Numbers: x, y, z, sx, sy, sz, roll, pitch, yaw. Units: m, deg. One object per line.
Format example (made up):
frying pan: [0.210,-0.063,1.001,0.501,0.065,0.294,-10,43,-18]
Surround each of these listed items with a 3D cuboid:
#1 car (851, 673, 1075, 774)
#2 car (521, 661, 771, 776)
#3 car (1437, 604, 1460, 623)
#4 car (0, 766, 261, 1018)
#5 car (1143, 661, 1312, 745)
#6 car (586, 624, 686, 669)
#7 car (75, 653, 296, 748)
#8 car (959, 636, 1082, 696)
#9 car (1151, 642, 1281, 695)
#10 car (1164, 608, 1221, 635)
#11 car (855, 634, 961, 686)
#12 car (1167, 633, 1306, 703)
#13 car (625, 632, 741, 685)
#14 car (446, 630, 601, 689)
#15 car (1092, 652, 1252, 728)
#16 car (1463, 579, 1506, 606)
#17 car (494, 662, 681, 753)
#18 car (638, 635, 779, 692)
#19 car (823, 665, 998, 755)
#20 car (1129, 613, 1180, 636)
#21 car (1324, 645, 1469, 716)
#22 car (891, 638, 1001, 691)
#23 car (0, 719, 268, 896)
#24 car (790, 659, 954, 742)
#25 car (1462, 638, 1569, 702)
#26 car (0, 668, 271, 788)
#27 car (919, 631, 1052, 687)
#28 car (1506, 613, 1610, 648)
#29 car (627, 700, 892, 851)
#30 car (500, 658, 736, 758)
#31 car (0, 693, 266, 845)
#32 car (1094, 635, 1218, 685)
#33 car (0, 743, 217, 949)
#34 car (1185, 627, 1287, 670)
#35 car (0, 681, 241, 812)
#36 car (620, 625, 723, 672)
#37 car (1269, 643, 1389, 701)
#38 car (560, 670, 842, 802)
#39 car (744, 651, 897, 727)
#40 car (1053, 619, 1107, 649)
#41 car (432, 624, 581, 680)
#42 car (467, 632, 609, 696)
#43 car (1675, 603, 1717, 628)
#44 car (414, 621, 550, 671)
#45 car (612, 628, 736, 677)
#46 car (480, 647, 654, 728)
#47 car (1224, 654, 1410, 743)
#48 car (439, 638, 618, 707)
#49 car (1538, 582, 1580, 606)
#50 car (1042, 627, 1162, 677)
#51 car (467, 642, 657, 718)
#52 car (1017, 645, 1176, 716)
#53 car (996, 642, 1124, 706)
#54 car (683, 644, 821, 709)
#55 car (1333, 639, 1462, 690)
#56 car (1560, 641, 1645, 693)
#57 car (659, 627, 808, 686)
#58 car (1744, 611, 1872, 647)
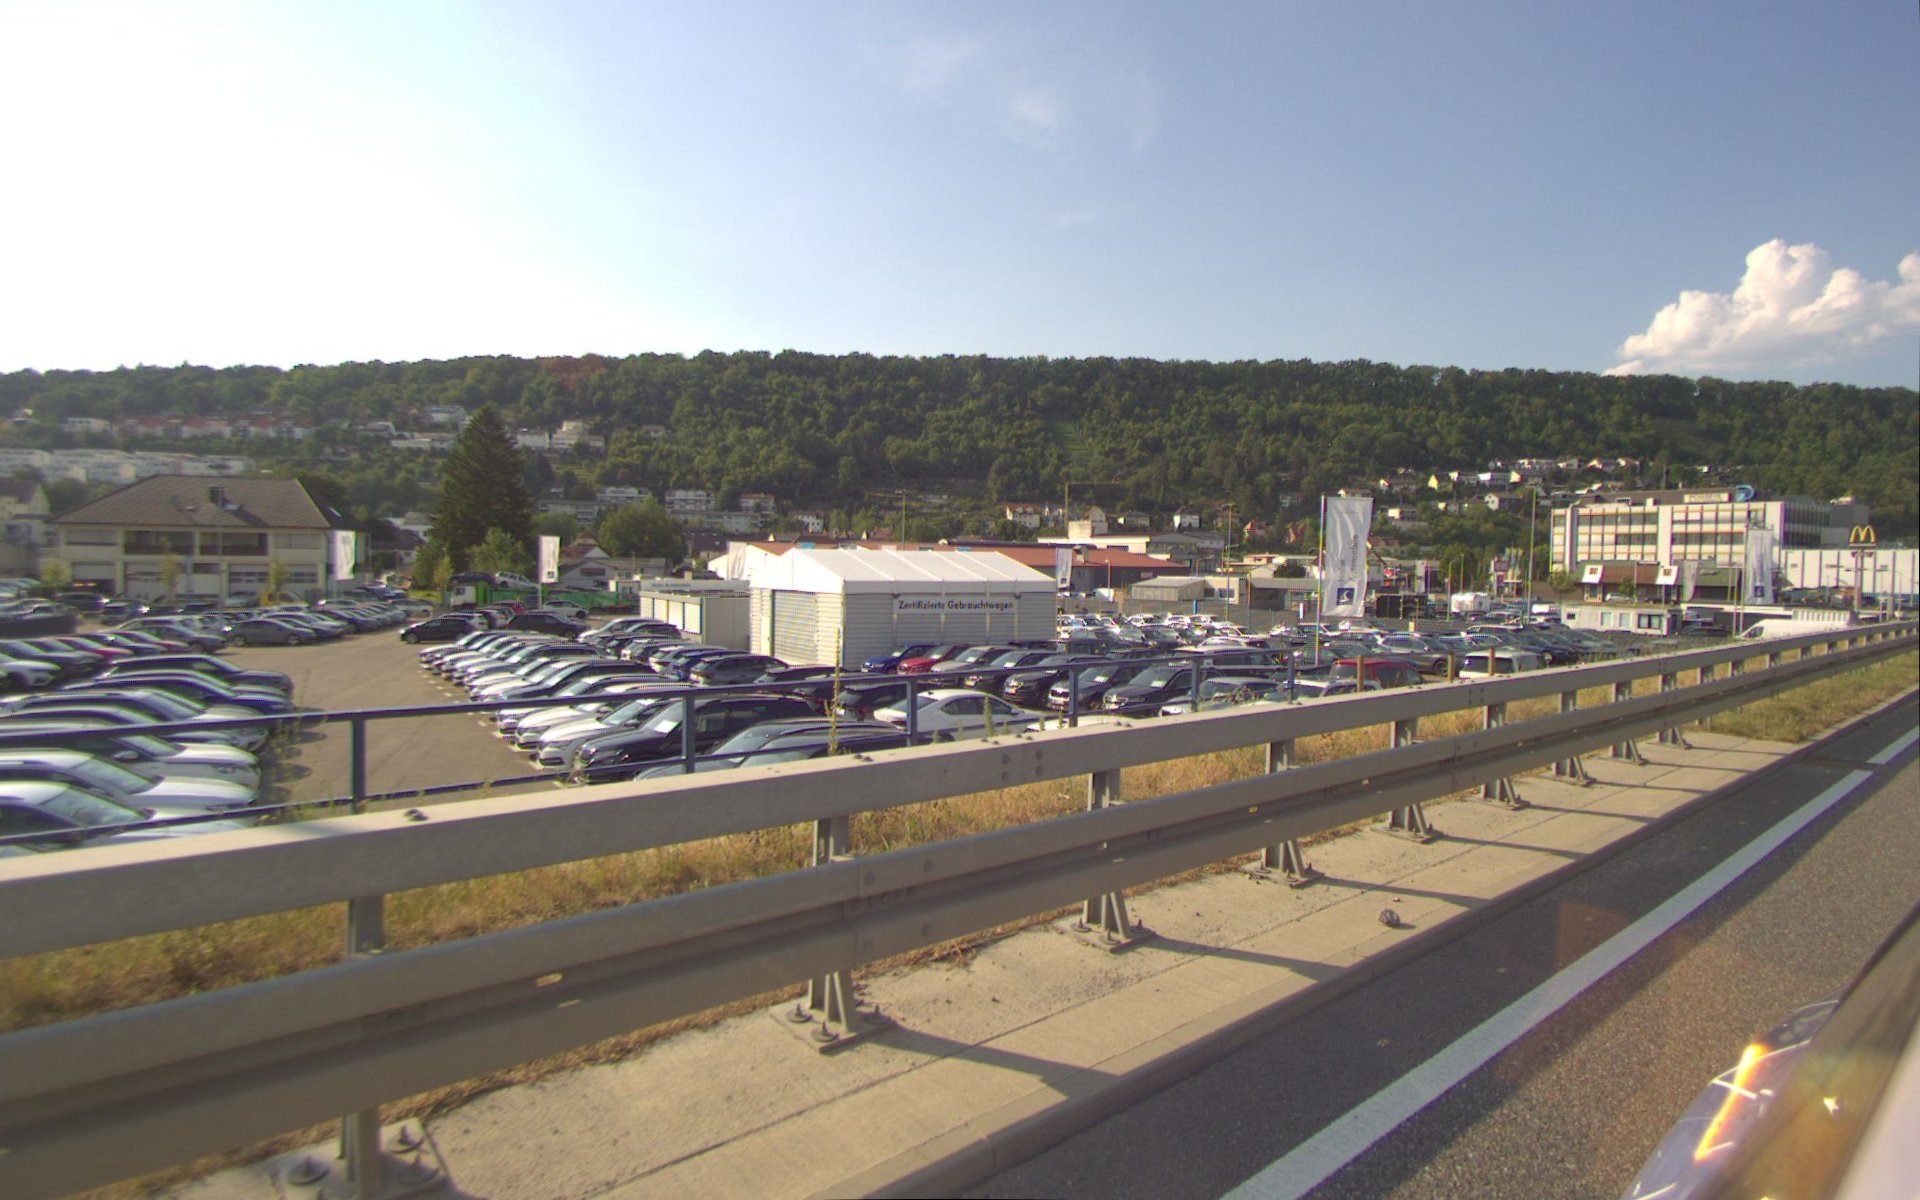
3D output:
car: [0.081,2.663,22.605,4.633,1.656,1.889,-2,1,-26]
car: [-6.370,2.318,20.888,4.587,1.737,1.838,-2,1,-42]
car: [44.039,1.212,91.278,1.662,1.589,3.746,-1,1,23]
car: [-8.942,2.759,9.359,3.930,1.705,1.778,-2,1,-40]
car: [7.154,2.651,26.859,4.643,1.656,1.885,-2,1,-37]
car: [-14.404,2.042,45.049,3.924,1.705,1.781,-2,1,-34]
car: [-17.818,2.245,23.495,3.926,1.705,1.780,-2,1,-36]
car: [2.095,2.211,34.727,3.924,1.705,1.781,-2,1,-34]
car: [9.374,2.457,36.928,4.636,1.541,1.887,-2,1,-31]
car: [17.520,1.597,76.483,1.889,1.883,4.002,-1,1,-33]
car: [-2.074,2.355,40.624,3.924,1.704,1.782,-2,3,-34]
car: [9.448,2.250,34.508,4.636,1.955,1.887,-2,1,-31]
car: [-10.618,2.212,38.891,3.924,1.705,1.781,-2,1,-34]
car: [-15.061,1.999,35.035,4.641,1.656,1.885,-2,1,-36]
car: [6.089,2.476,28.846,4.643,1.656,1.885,-2,1,-37]
car: [52.581,-0.748,101.384,5.370,2.581,1.760,-2,1,-38]
car: [-8.982,2.522,24.474,3.924,1.705,1.781,-2,1,-34]
car: [-9.142,2.258,36.924,4.641,1.656,1.885,-2,1,-36]
car: [-1.190,2.613,24.800,3.924,1.705,1.781,-2,1,-34]
car: [15.531,1.907,81.046,1.723,1.661,3.967,-1,1,-33]
car: [13.137,2.341,30.354,4.641,1.646,1.885,-2,1,-36]
car: [-0.522,2.423,38.926,3.924,1.705,1.781,-2,1,-34]
car: [-11.535,2.690,13.306,3.927,1.705,1.780,-2,1,-37]
car: [-2.278,2.557,26.554,3.924,1.705,1.781,-2,1,-34]
car: [18.252,2.224,33.174,1.880,1.646,4.654,0,1,44]
car: [-15.558,2.329,19.301,3.926,1.705,1.780,-2,1,-36]
car: [0.975,2.107,37.132,4.641,1.656,1.886,-2,1,-35]
car: [31.898,1.578,54.079,1.849,1.656,4.441,-2,1,-33]
car: [-3.234,2.757,16.734,3.930,1.705,1.778,-2,1,-41]
car: [-7.607,2.319,22.761,4.645,1.656,1.884,-2,1,-39]
car: [-12.907,2.486,15.295,3.926,1.705,1.780,-2,1,-36]
car: [7.595,2.279,39.170,4.636,1.541,1.887,-2,1,-31]
car: [-10.566,2.734,10.983,3.930,1.705,1.778,-2,1,-40]
car: [12.714,2.195,46.824,1.849,1.656,4.441,-2,1,-33]
car: [-14.716,2.449,17.288,3.926,1.705,1.780,-2,1,-36]
car: [-12.406,2.047,43.595,3.924,1.705,1.781,-2,1,-34]
car: [11.965,2.279,32.720,3.924,1.490,1.675,-2,1,-34]
car: [-4.668,2.362,18.683,4.649,1.671,2.002,-2,1,-42]
car: [-3.932,2.460,28.738,3.924,1.705,1.781,-2,1,-34]
car: [7.288,2.057,61.647,1.595,1.593,3.492,-1,1,-26]
car: [-16.464,1.837,36.855,4.641,1.656,1.885,-2,1,-36]
car: [-13.608,2.006,32.735,3.926,1.705,1.780,-2,1,-36]
car: [65.528,1.337,90.080,4.740,1.976,1.760,-2,1,-38]
car: [-19.034,1.795,40.371,4.641,1.656,1.885,-2,1,-36]
car: [-11.614,2.103,41.219,4.487,1.656,1.885,-2,1,-36]
car: [-10.266,2.213,26.510,3.925,1.705,1.780,-2,1,-36]
car: [8.775,2.311,24.741,4.639,1.646,1.886,-2,1,-34]
car: [-12.964,2.120,30.554,4.644,1.656,1.884,-2,1,-38]
car: [59.242,-0.608,100.019,5.201,2.274,1.760,-2,1,-38]
car: [5.734,2.040,40.764,4.636,1.656,1.887,-2,1,-31]
car: [-11.140,2.175,28.498,4.643,1.656,1.885,-2,1,-37]
car: [4.121,2.332,30.212,4.641,1.656,1.886,-2,1,-35]
car: [3.272,2.352,32.839,3.924,1.705,1.781,-2,1,-34]
car: [-6.640,2.394,32.456,3.924,1.705,1.781,-2,1,-34]
car: [17.279,2.513,40.192,1.849,1.656,4.441,-2,1,-33]
car: [25.466,2.610,40.068,4.237,1.646,1.740,-2,1,-41]
car: [-7.761,1.890,34.902,4.641,1.656,1.885,-2,1,-36]
car: [53.511,1.805,63.989,1.964,2.039,5.897,-2,1,-37]
